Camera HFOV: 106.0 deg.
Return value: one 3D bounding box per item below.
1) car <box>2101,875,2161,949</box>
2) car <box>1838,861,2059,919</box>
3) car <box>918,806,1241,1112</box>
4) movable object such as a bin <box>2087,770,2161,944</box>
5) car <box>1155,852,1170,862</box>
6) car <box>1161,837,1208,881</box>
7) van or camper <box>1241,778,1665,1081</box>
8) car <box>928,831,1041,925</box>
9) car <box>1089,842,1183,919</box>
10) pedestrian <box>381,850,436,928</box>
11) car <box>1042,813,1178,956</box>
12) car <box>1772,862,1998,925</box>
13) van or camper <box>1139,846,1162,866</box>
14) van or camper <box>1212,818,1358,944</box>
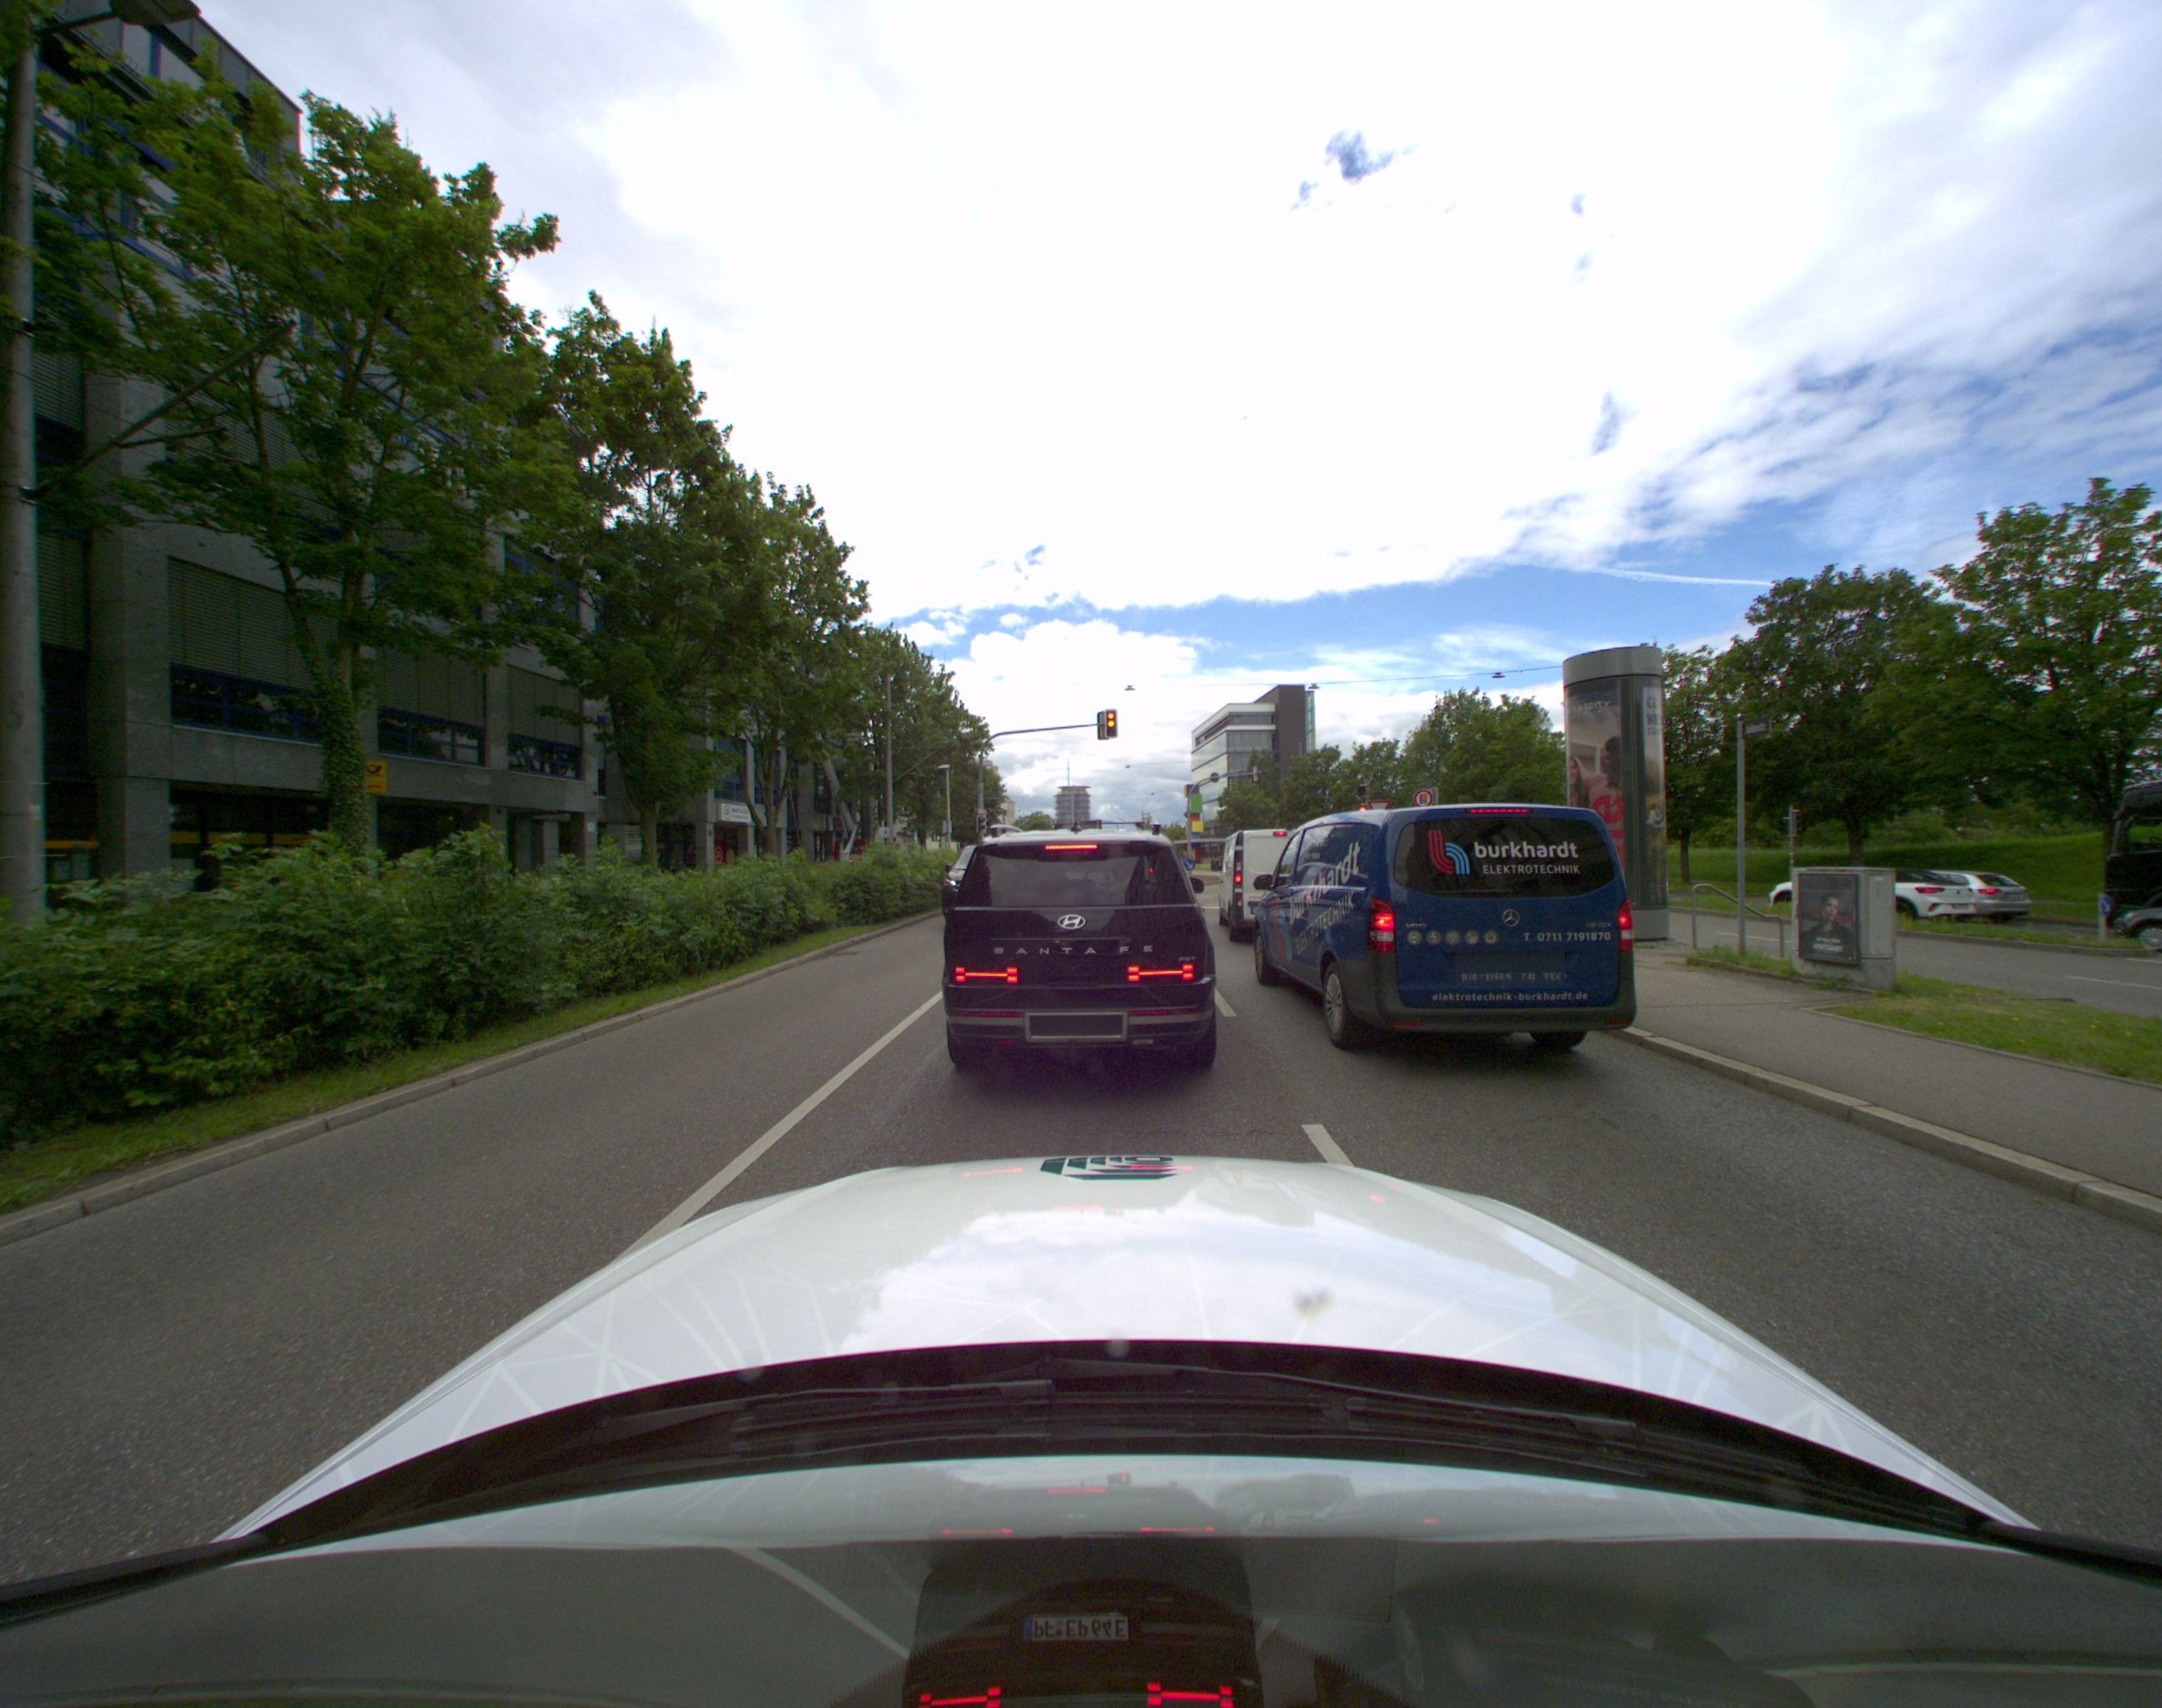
[{"bbox_3d":[23.001,1.217,15.528,1.994,1.453,3.985,1,0,-11],"label":"car"},{"bbox_3d":[25.096,0.994,23.777,1.994,1.453,3.985,1,0,-11],"label":"car"},{"bbox_3d":[0.051,0.622,6.745,1.862,1.760,3.881,-1,0,2],"label":"car"},{"bbox_3d":[26.256,0.008,15.509,2.860,3.903,8.536,-1,-1,-11],"label":"movable object such as a bin"},{"bbox_3d":[13.170,0.501,131.716,1.987,1.684,3.998,-1,-1,-1],"label":"car"},{"bbox_3d":[5.065,0.264,40.273,1.985,2.014,4.003,-1,-1,3],"label":"car"},{"bbox_3d":[2.893,0.490,7.772,1.853,1.911,5.034,-1,0,2],"label":"van or camper"},{"bbox_3d":[-2.210,0.552,19.984,1.986,1.948,4.738,-3,-1,2],"label":"car"},{"bbox_3d":[1.504,0.620,20.567,1.764,1.717,4.352,-1,-1,12],"label":"car"},{"bbox_3d":[-16.837,0.865,20.398,0.771,1.894,0.731,-1,-1,1],"label":"pedestrian"},{"bbox_3d":[0.475,0.439,13.629,1.908,2.003,3.881,-1,0,2],"label":"car"},{"bbox_3d":[21.763,1.014,22.279,1.994,1.453,3.985,1,0,-11],"label":"car"},{"bbox_3d":[9.283,0.246,107.996,1.979,2.547,6.603,-1,-1,14],"label":"van or camper"},{"bbox_3d":[3.657,0.445,15.488,1.984,2.013,4.659,-1,0,5],"label":"van or camper"}]
